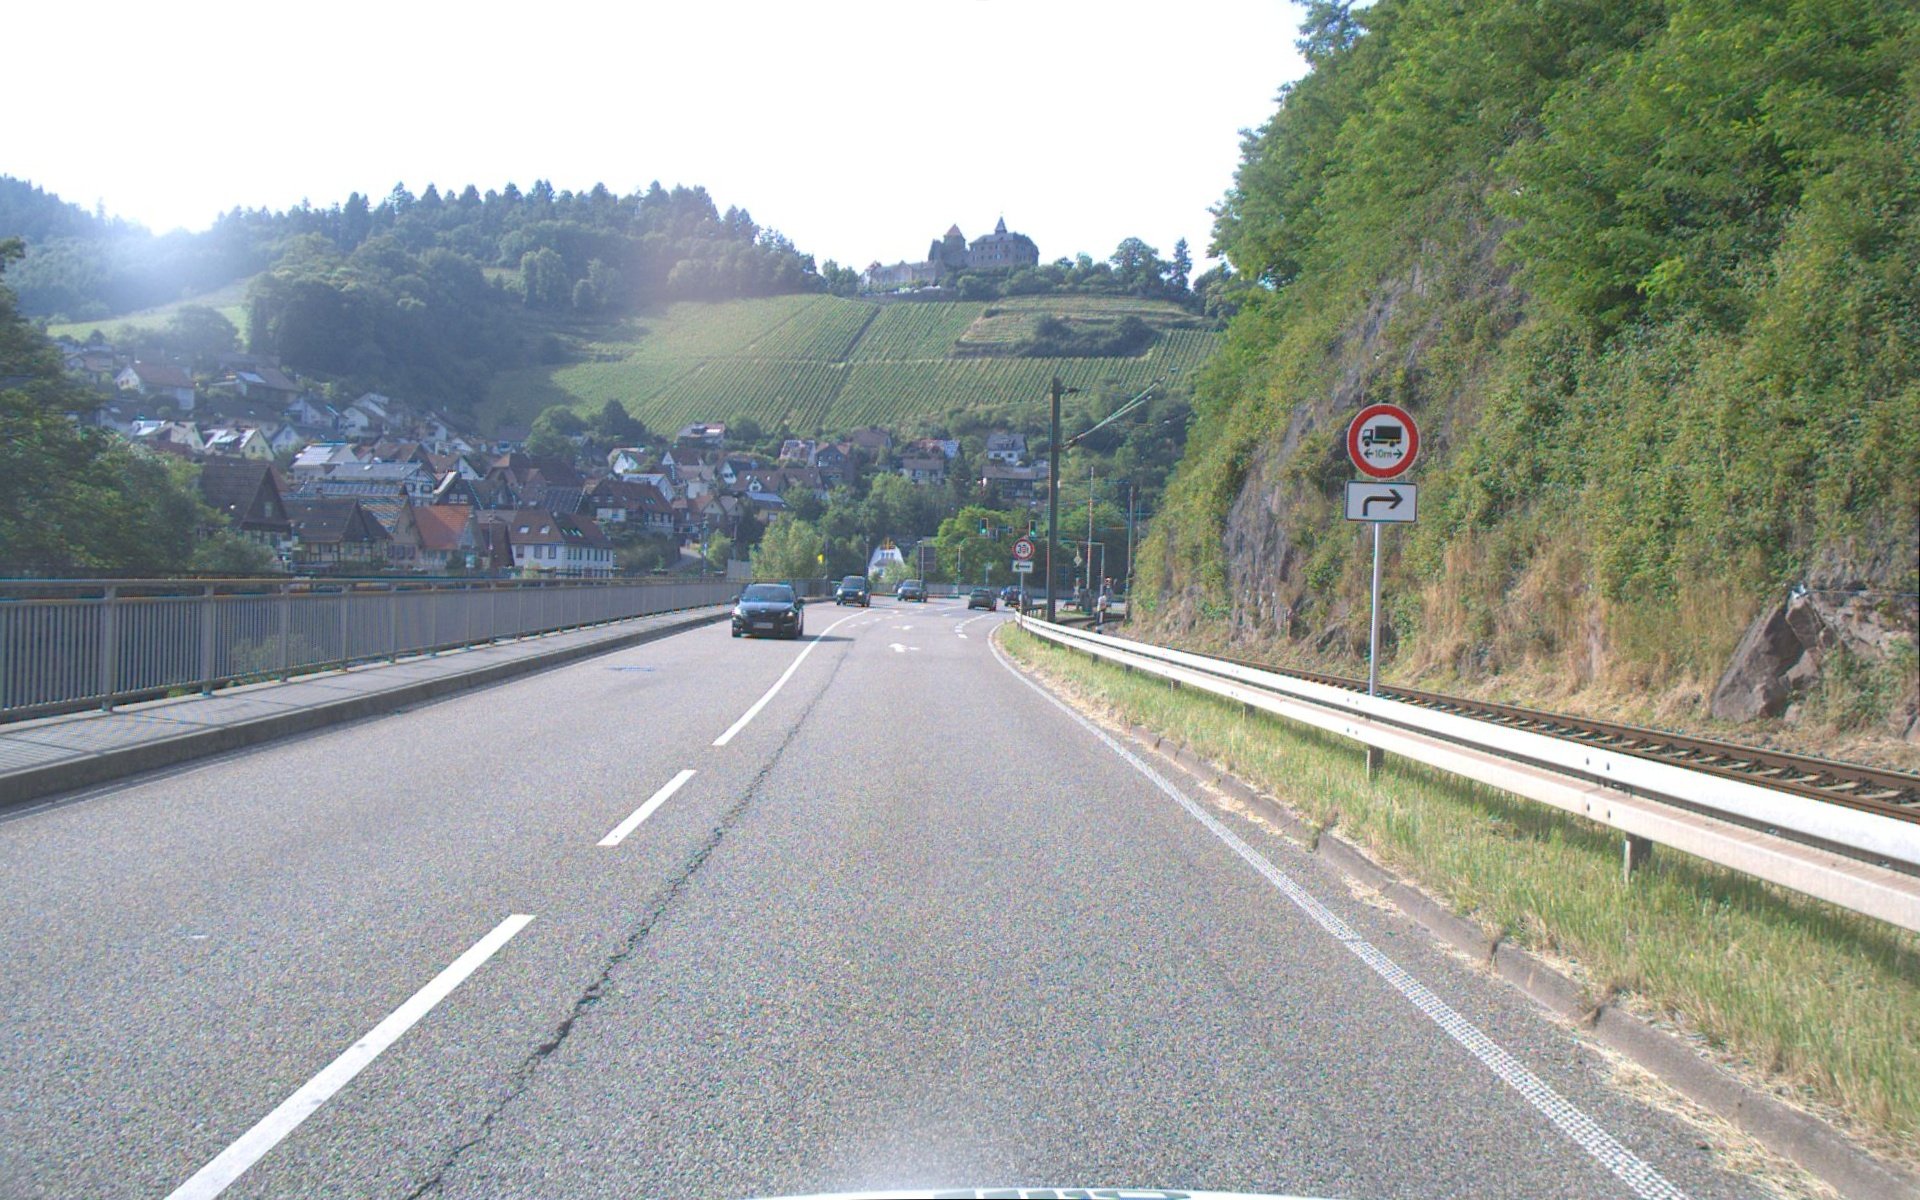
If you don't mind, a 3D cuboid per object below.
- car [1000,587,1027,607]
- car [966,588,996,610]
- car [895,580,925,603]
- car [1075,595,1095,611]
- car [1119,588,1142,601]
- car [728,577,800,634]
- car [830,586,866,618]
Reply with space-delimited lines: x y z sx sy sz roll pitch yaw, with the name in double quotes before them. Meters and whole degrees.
"car" 4.406 -0.238 136.053 1.801 1.485 3.715 1 -1 7
"car" 1.487 -0.053 116.262 1.692 1.482 3.413 1 -1 7
"car" -3.859 -0.654 128.142 1.779 1.675 4.615 2 0 4
"car" 12.490 0.306 165.120 1.768 1.478 3.649 1 -1 7
"car" 19.300 -0.638 186.694 1.771 1.433 3.774 1 -1 19
"car" -5.304 0.119 45.191 1.686 1.460 4.337 1 0 -3
"car" -6.777 0.091 100.309 1.754 1.859 4.829 2 1 1
